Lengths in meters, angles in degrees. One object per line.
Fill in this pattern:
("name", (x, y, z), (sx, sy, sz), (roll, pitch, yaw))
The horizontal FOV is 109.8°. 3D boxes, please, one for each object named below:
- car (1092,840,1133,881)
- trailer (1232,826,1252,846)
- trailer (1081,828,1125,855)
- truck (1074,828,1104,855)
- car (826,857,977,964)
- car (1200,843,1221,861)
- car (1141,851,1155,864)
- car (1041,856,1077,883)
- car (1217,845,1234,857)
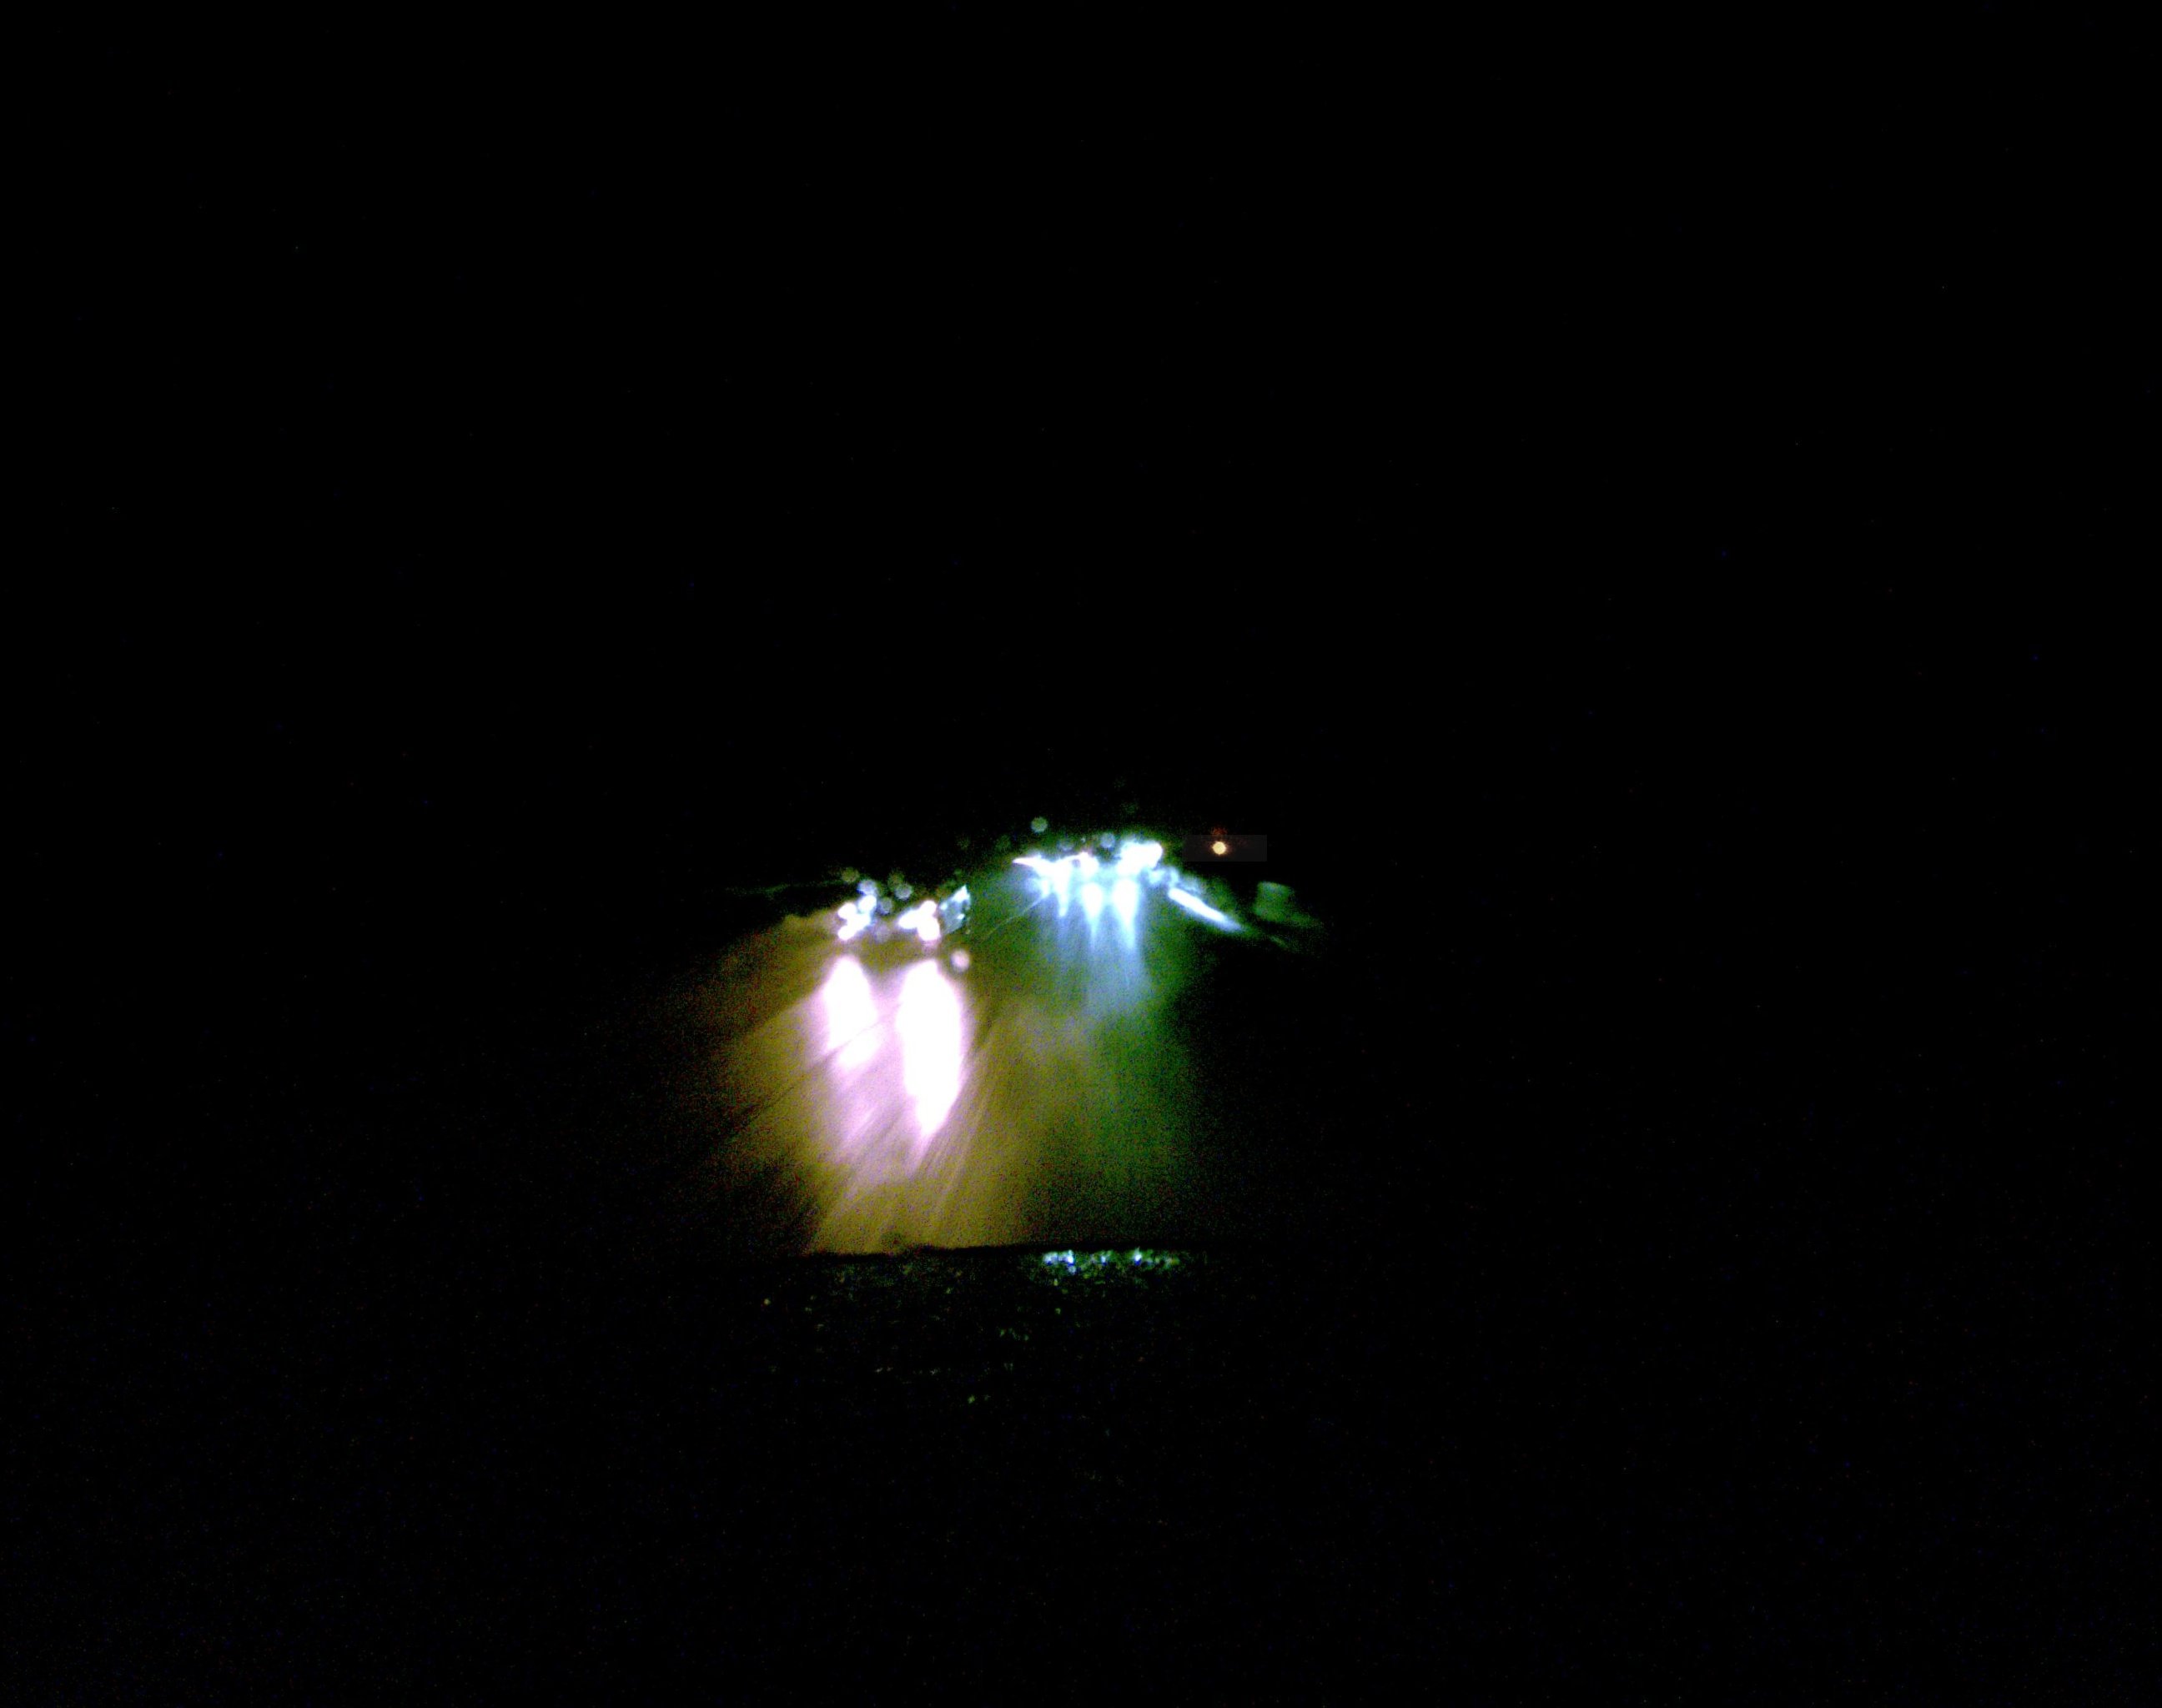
("car", (1.790, 0.363, 41.897), (1.998, 2.001, 4.002), (-5, -1, 4))
("trailer", (33.734, -3.720, 159.390), (2.934, 3.726, 9.506), (-6, -1, 6))
("trailer", (3.867, -2.128, 127.018), (2.743, 3.954, 13.837), (-7, -1, 19))
("truck", (1.305, -1.993, 119.757), (2.779, 3.945, 5.205), (-7, -1, 19))
("car", (-3.176, 0.918, 14.353), (1.805, 1.608, 4.256), (-3, 0, -1))
("car", (16.300, -0.219, 95.869), (1.998, 2.001, 5.191), (-6, -1, 5))
("car", (11.110, 0.604, 126.113), (1.998, 1.802, 4.003), (-6, -1, 7))
("car", (-1.468, 1.026, 51.850), (1.847, 1.614, 3.681), (-5, -1, 5))
("car", (22.719, -0.446, 119.494), (1.998, 1.654, 4.002), (-6, -1, 4))
